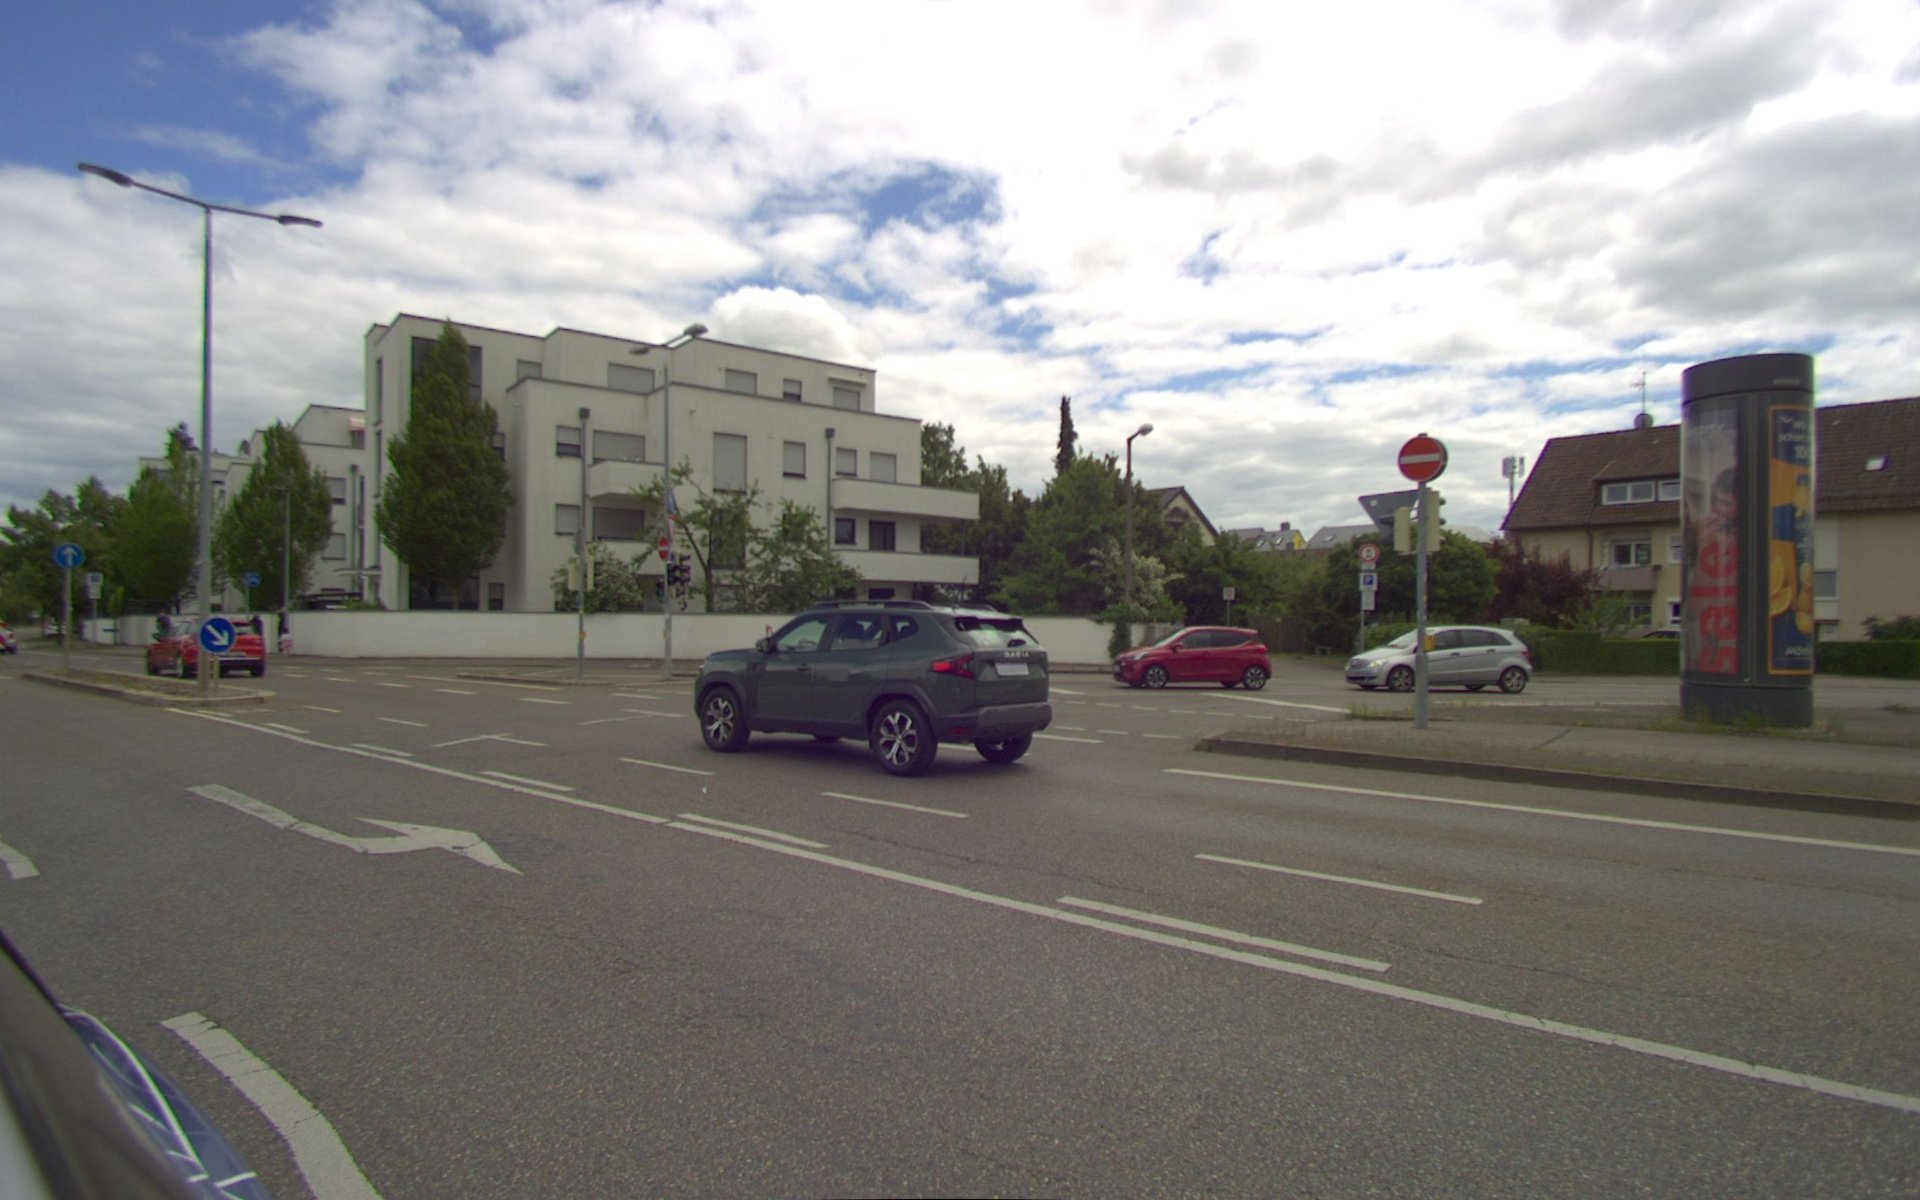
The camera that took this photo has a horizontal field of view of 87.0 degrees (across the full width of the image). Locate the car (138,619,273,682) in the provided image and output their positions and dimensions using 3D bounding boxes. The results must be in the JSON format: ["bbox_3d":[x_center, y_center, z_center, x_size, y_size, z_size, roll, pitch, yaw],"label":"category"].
[{"bbox_3d":[-18.872,1.220,25.264,4.062,1.459,1.703,-1,-3,39],"label":"car"}]

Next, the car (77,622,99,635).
[{"bbox_3d":[-110.399,3.657,128.153,1.860,1.628,4.009,2,-2,-37],"label":"car"}]

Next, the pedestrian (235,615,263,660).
[{"bbox_3d":[-25.220,1.328,35.908,0.731,1.554,0.526,-1,2,38],"label":"pedestrian"}]

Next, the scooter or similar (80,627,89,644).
[{"bbox_3d":[-64.737,2.611,74.806,0.428,1.174,1.328,-2,0,-43],"label":"scooter or similar"}]

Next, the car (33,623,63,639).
[{"bbox_3d":[-95.025,3.224,105.467,1.887,1.665,4.009,2,-2,-37],"label":"car"}]

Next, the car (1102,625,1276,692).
[{"bbox_3d":[5.403,1.388,24.109,3.646,1.458,1.778,2,-3,-6],"label":"car"}]

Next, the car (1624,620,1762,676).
[{"bbox_3d":[25.227,1.606,35.011,1.761,1.592,4.001,-2,1,-1],"label":"car"}]

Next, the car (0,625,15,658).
[{"bbox_3d":[-42.653,1.776,44.041,3.813,1.420,1.627,-1,-2,37],"label":"car"}]

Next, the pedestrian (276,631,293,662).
[{"bbox_3d":[-23.747,1.623,35.582,0.443,1.070,0.322,-1,2,39],"label":"pedestrian"}]

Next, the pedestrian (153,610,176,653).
[{"bbox_3d":[-37.704,1.490,47.951,0.871,1.962,0.641,-1,1,41],"label":"pedestrian"}]

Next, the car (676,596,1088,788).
[{"bbox_3d":[-0.946,0.854,10.700,4.274,1.639,1.805,-1,-3,39],"label":"car"}]

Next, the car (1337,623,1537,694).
[{"bbox_3d":[11.434,1.399,24.396,4.067,1.547,1.649,2,-3,-4],"label":"car"}]
